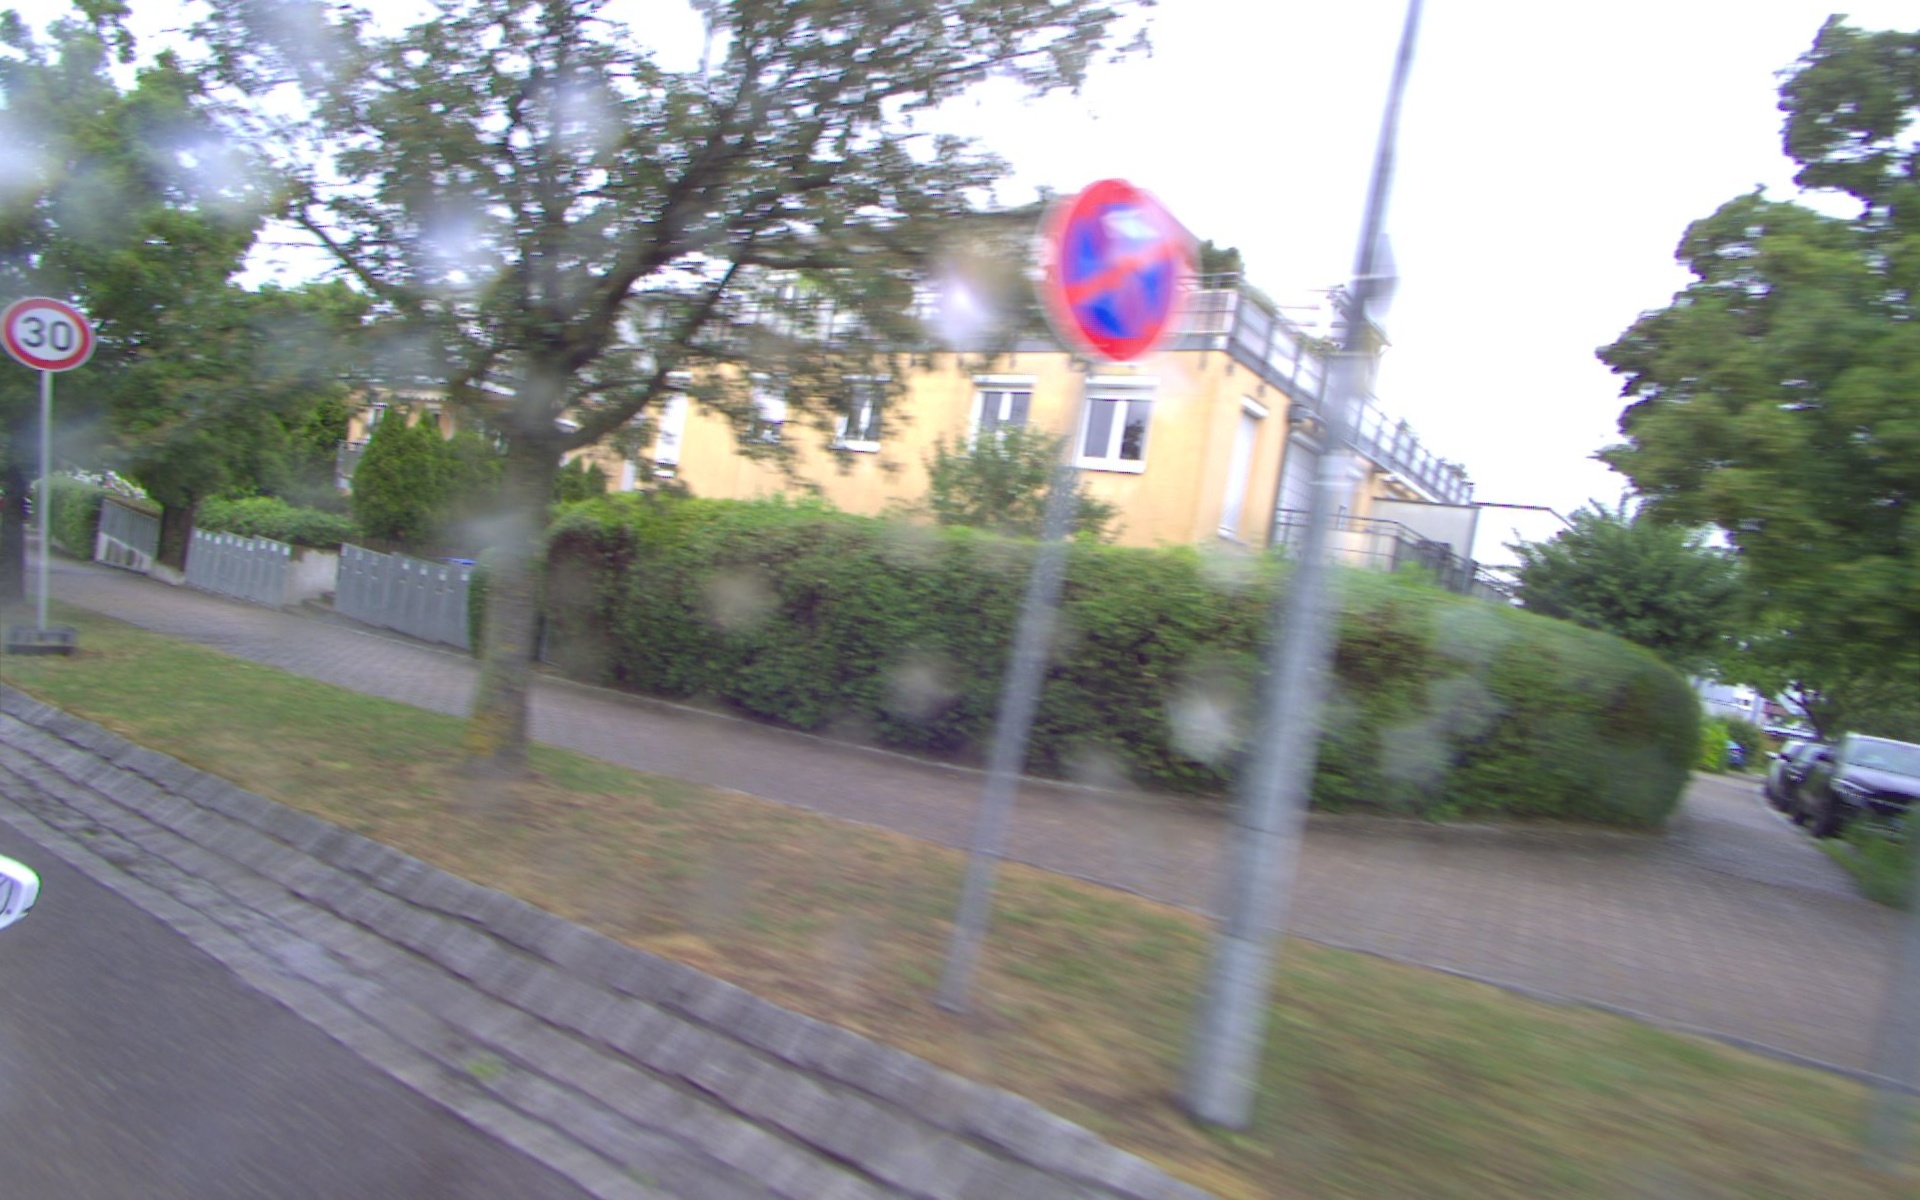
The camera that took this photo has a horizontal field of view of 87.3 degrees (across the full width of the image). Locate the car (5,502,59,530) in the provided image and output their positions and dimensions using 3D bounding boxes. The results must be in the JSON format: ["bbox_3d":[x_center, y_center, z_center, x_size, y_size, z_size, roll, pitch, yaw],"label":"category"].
[{"bbox_3d":[-64.183,-5.790,69.624,1.674,1.570,3.670,9,-1,-28],"label":"car"}]

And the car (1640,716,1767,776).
[{"bbox_3d":[31.132,6.091,42.295,3.933,1.586,1.906,11,0,32],"label":"car"}]

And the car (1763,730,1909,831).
[{"bbox_3d":[16.935,3.430,19.615,1.615,1.426,3.595,12,1,37],"label":"car"}]

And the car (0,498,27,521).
[{"bbox_3d":[-78.128,-7.513,81.304,3.535,1.625,1.679,7,0,-31],"label":"car"}]

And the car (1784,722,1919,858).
[{"bbox_3d":[13.525,2.743,14.658,1.752,1.536,4.128,12,1,35],"label":"car"}]

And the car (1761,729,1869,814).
[{"bbox_3d":[19.813,3.929,23.425,1.492,1.494,3.264,12,1,38],"label":"car"}]
